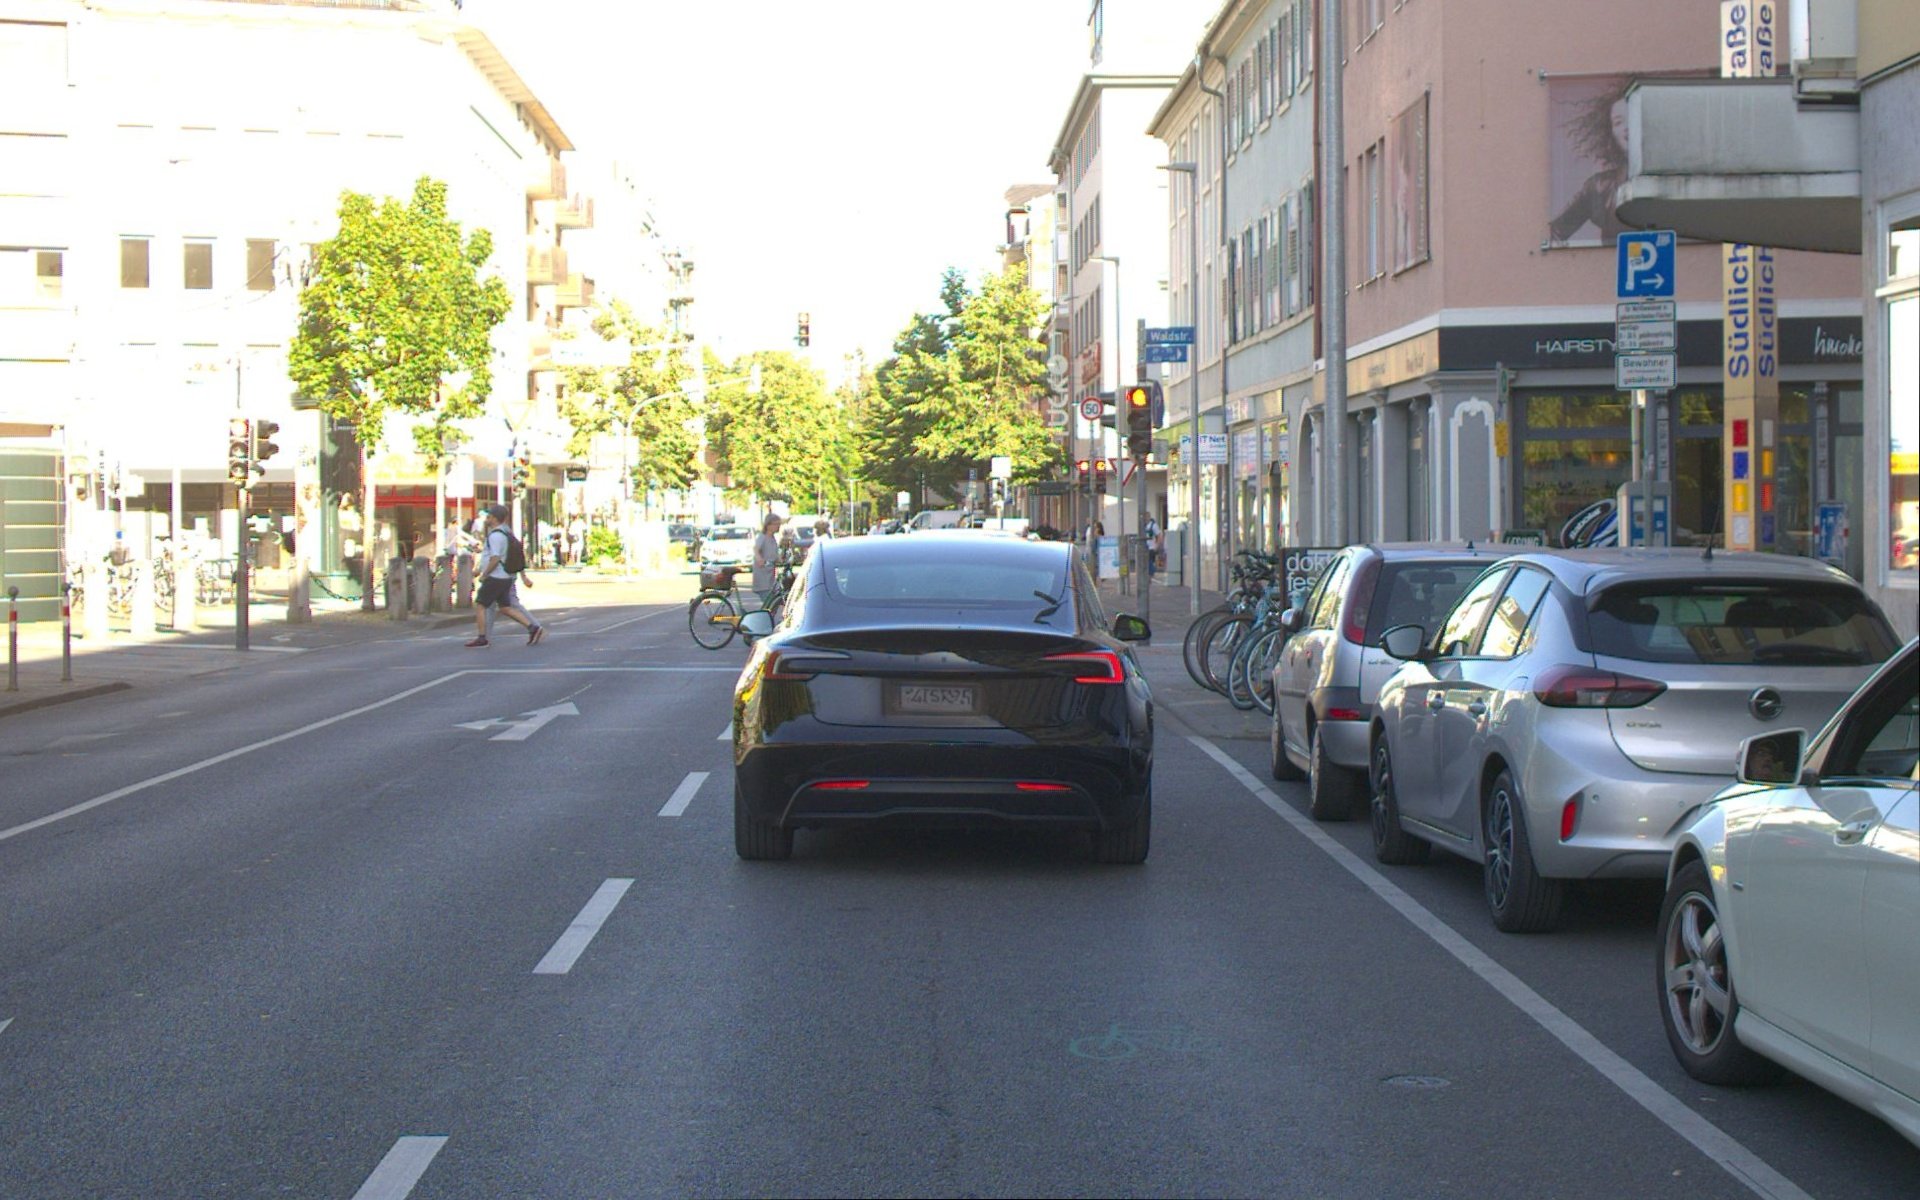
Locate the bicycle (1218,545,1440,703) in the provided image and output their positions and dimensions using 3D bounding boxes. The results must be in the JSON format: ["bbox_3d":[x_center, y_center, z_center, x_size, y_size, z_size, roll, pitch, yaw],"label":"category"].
[{"bbox_3d":[2.837,0.183,26.482,1.627,1.156,0.433,-2,1,-1],"label":"bicycle"}]

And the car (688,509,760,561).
[{"bbox_3d":[-7.635,-2.120,111.571,1.993,1.535,4.000,-3,1,0],"label":"car"}]

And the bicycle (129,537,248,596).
[{"bbox_3d":[-14.650,-0.642,65.295,2.082,1.100,0.806,0,1,0],"label":"bicycle"}]

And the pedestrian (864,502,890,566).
[{"bbox_3d":[-2.639,-2.078,108.700,0.627,2.007,0.558,1,1,24],"label":"pedestrian"}]

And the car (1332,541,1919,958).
[{"bbox_3d":[2.684,0.492,14.075,1.670,1.422,4.078,0,1,-3],"label":"car"}]

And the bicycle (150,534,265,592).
[{"bbox_3d":[-14.772,-0.733,67.489,2.082,1.100,0.806,0,1,0],"label":"bicycle"}]

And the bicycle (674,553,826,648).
[{"bbox_3d":[-2.382,0.001,39.060,1.616,1.041,0.591,1,1,9],"label":"bicycle"}]

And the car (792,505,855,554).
[{"bbox_3d":[-4.900,-2.550,124.064,2.050,1.721,4.654,0,1,0],"label":"car"}]

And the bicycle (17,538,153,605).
[{"bbox_3d":[-14.755,-0.479,58.002,2.082,1.100,0.806,0,1,0],"label":"bicycle"}]

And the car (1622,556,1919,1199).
[{"bbox_3d":[2.847,0.655,7.779,1.738,1.442,4.465,0,1,-1],"label":"car"}]

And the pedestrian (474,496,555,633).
[{"bbox_3d":[-5.689,-0.457,43.929,0.901,1.719,0.744,1,1,4],"label":"pedestrian"}]

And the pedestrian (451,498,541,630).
[{"bbox_3d":[-5.807,-0.452,43.035,0.986,1.631,0.737,1,1,4],"label":"pedestrian"}]

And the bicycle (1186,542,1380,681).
[{"bbox_3d":[2.810,0.096,29.949,1.628,1.156,0.433,-2,1,1],"label":"bicycle"}]

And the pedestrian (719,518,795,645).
[{"bbox_3d":[-2.332,-0.213,39.528,0.743,1.435,0.582,1,1,9],"label":"pedestrian"}]

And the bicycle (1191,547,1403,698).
[{"bbox_3d":[2.706,0.179,27.658,1.627,1.156,0.433,-2,1,-1],"label":"bicycle"}]

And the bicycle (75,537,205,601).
[{"bbox_3d":[-14.428,-0.547,60.519,2.082,1.100,0.806,0,1,0],"label":"bicycle"}]

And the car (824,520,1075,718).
[{"bbox_3d":[-0.058,0.097,27.457,1.850,1.450,3.786,0,1,1],"label":"car"}]

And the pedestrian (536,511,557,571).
[{"bbox_3d":[-14.055,-2.008,116.815,0.626,2.007,0.707,0,1,0],"label":"pedestrian"}]

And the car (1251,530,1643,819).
[{"bbox_3d":[2.552,0.324,18.824,1.622,1.389,3.886,0,1,1],"label":"car"}]

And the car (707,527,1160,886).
[{"bbox_3d":[-0.089,0.397,16.009,1.850,1.450,3.786,0,1,1],"label":"car"}]

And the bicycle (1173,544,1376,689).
[{"bbox_3d":[2.637,0.133,28.901,1.627,1.156,0.433,-2,1,-1],"label":"bicycle"}]
